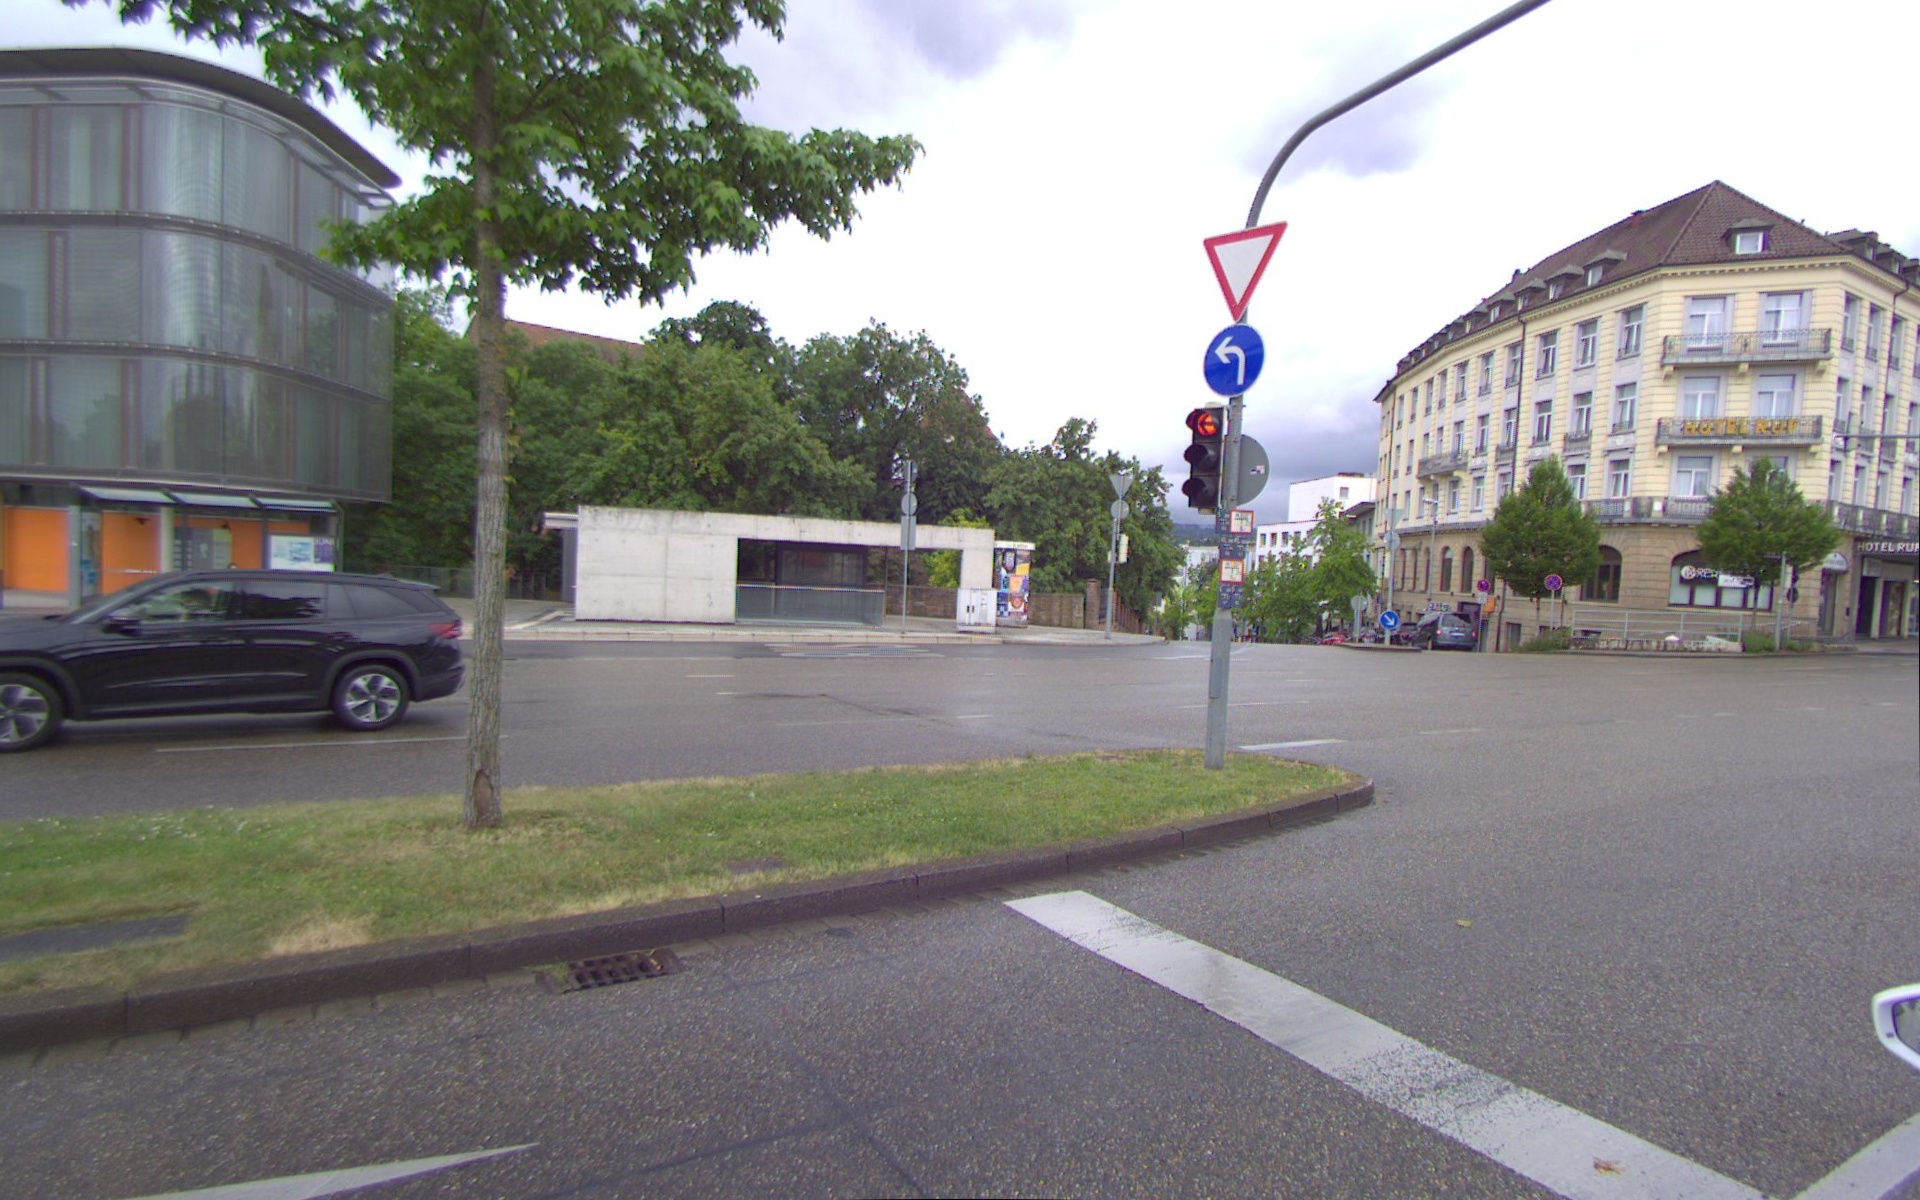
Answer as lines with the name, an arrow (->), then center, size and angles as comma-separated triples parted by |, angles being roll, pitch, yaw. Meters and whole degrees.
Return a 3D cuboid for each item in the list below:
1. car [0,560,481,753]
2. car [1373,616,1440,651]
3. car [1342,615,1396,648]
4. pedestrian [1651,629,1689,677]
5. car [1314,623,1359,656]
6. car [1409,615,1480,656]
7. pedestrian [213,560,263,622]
car -> -7.631, 0.493, 10.344 | 4.562, 1.662, 1.806 | 1, 1, -40
car -> 22.908, 1.692, 51.704 | 1.959, 1.662, 4.002 | 2, 0, 6
car -> 23.164, 1.745, 57.002 | 1.757, 1.662, 3.916 | 2, 1, 6
pedestrian -> 28.866, 2.136, 40.848 | 1.010, 1.903, 0.859 | 1, 1, -30
car -> 23.588, 2.447, 63.056 | 1.741, 1.836, 3.624 | 2, 1, 7
car -> 21.735, 1.553, 45.197 | 1.764, 1.589, 4.002 | 2, 1, 9
pedestrian -> -16.087, -0.191, 22.393 | 0.780, 1.341, 0.798 | 1, 1, -28
